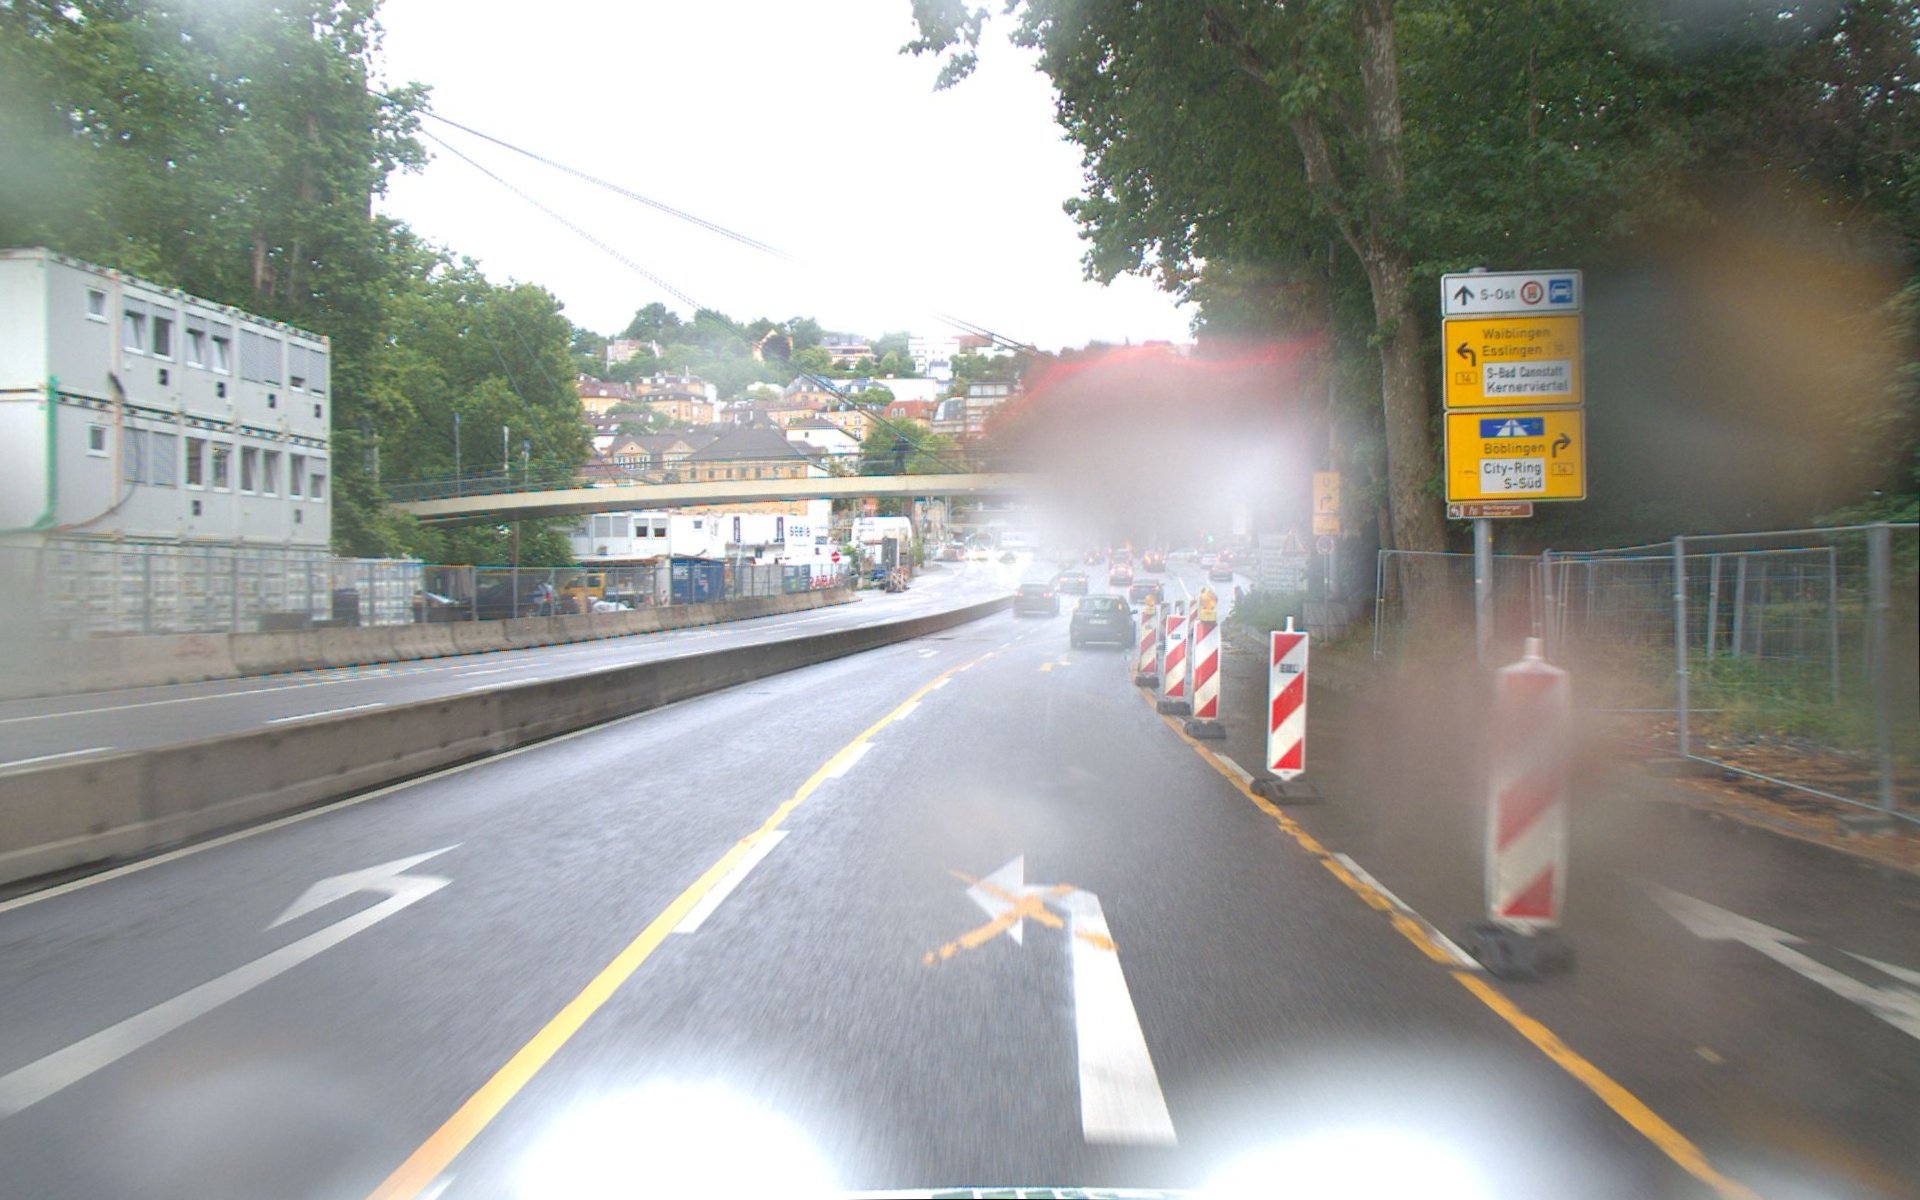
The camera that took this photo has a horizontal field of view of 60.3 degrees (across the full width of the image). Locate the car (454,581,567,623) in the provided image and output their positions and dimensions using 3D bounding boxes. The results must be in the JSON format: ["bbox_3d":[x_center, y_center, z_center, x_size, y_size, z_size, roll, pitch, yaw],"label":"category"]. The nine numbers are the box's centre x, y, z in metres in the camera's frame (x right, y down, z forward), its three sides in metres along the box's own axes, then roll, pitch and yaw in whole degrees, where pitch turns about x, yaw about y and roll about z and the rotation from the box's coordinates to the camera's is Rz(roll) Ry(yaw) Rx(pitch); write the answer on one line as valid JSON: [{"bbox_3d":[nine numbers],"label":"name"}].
[{"bbox_3d":[-19.225,0.072,70.864,4.335,1.656,1.958,-1,0,-3],"label":"car"}]

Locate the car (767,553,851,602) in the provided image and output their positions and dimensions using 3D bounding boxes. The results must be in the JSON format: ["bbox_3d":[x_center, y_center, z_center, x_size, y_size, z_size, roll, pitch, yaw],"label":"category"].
[{"bbox_3d":[-9.375,-1.378,103.223,1.957,2.925,6.037,-1,0,32],"label":"car"}]

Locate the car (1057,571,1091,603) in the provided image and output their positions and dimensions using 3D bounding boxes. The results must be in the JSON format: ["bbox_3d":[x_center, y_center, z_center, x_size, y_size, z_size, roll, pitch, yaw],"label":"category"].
[{"bbox_3d":[7.587,-0.884,109.984,1.951,2.049,4.003,-1,0,8],"label":"car"}]

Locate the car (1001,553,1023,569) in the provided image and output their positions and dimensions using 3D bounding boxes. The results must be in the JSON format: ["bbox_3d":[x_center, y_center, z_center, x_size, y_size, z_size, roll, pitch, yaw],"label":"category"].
[{"bbox_3d":[5.510,-4.158,175.156,2.038,1.659,4.856,-1,1,4],"label":"car"}]

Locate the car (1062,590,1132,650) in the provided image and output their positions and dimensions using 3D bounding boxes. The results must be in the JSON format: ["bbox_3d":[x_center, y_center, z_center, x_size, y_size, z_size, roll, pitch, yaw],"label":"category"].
[{"bbox_3d":[3.879,0.534,46.473,1.773,1.553,4.003,-1,0,7],"label":"car"}]

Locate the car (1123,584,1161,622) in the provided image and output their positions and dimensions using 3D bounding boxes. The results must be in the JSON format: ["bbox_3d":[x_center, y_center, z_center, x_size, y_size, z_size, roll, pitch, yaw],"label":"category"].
[{"bbox_3d":[10.421,0.148,94.914,2.060,2.086,4.003,-1,0,5],"label":"car"}]

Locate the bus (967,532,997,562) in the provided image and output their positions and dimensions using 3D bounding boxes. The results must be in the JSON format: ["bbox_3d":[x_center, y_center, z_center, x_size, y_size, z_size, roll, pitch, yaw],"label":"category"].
[{"bbox_3d":[2.549,-5.993,188.591,2.747,3.240,8.814,-1,1,5],"label":"bus"}]

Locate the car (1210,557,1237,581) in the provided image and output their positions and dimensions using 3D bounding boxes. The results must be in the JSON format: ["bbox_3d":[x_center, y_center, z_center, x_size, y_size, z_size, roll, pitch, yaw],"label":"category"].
[{"bbox_3d":[21.962,-2.595,138.046,1.951,2.048,4.003,0,1,5],"label":"car"}]

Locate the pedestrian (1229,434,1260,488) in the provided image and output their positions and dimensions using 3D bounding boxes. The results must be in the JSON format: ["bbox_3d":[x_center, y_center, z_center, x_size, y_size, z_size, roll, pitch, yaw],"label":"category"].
[{"bbox_3d":[11.706,-5.712,68.025,1.123,2.096,1.060,-1,0,13],"label":"pedestrian"}]

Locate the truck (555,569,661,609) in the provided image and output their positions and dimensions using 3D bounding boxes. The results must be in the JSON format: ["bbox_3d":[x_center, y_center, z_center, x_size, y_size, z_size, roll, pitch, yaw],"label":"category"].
[{"bbox_3d":[-18.849,-0.601,88.681,5.138,2.049,2.164,-1,1,1],"label":"truck"}]

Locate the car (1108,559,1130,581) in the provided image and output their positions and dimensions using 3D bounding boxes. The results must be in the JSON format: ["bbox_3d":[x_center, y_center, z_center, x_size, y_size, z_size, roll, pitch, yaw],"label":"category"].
[{"bbox_3d":[14.882,-2.788,154.843,1.951,1.902,4.002,-1,0,4],"label":"car"}]

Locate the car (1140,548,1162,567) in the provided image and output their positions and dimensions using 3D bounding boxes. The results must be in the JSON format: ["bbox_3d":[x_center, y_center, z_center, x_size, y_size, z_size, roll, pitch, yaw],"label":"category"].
[{"bbox_3d":[18.947,-4.236,164.114,1.952,1.728,4.002,-1,0,3],"label":"car"}]

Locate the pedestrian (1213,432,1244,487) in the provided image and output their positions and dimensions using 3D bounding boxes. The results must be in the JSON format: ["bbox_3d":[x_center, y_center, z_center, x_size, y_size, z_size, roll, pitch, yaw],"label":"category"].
[{"bbox_3d":[10.907,-5.680,67.149,1.123,2.096,1.060,-1,0,13],"label":"pedestrian"}]

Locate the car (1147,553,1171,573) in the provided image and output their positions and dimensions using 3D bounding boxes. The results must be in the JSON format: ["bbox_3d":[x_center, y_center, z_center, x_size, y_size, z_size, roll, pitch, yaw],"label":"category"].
[{"bbox_3d":[18.969,-3.520,157.907,1.952,1.728,4.002,-1,0,3],"label":"car"}]

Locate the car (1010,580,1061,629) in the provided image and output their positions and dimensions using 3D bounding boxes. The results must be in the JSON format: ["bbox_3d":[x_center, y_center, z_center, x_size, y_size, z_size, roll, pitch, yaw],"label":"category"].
[{"bbox_3d":[3.358,0.205,72.856,1.974,2.049,4.003,-1,0,5],"label":"car"}]

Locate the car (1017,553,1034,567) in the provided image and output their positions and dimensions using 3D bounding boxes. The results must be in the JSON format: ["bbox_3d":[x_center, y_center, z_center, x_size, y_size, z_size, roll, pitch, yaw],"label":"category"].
[{"bbox_3d":[7.668,-4.663,193.209,1.673,1.515,3.453,-1,0,7],"label":"car"}]

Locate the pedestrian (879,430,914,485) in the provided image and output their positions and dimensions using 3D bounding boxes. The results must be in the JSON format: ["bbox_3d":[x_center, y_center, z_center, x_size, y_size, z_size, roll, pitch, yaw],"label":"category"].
[{"bbox_3d":[-2.581,-5.772,67.173,1.123,2.096,1.060,-1,0,13],"label":"pedestrian"}]

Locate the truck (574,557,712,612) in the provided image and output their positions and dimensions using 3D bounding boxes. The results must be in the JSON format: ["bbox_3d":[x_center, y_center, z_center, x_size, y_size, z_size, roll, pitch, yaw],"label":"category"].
[{"bbox_3d":[-15.321,-0.722,80.306,6.150,2.495,2.693,-1,0,-2],"label":"truck"}]

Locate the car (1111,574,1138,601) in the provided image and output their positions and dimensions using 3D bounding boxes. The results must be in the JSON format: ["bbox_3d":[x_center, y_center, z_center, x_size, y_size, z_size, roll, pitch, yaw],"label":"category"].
[{"bbox_3d":[12.647,-0.957,127.270,2.008,2.049,4.002,-1,0,4],"label":"car"}]

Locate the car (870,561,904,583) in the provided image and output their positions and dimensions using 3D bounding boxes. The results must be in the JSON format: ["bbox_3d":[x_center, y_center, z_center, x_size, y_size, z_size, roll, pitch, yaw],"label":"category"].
[{"bbox_3d":[-5.935,-2.307,134.417,1.951,1.650,4.005,0,3,9],"label":"car"}]
